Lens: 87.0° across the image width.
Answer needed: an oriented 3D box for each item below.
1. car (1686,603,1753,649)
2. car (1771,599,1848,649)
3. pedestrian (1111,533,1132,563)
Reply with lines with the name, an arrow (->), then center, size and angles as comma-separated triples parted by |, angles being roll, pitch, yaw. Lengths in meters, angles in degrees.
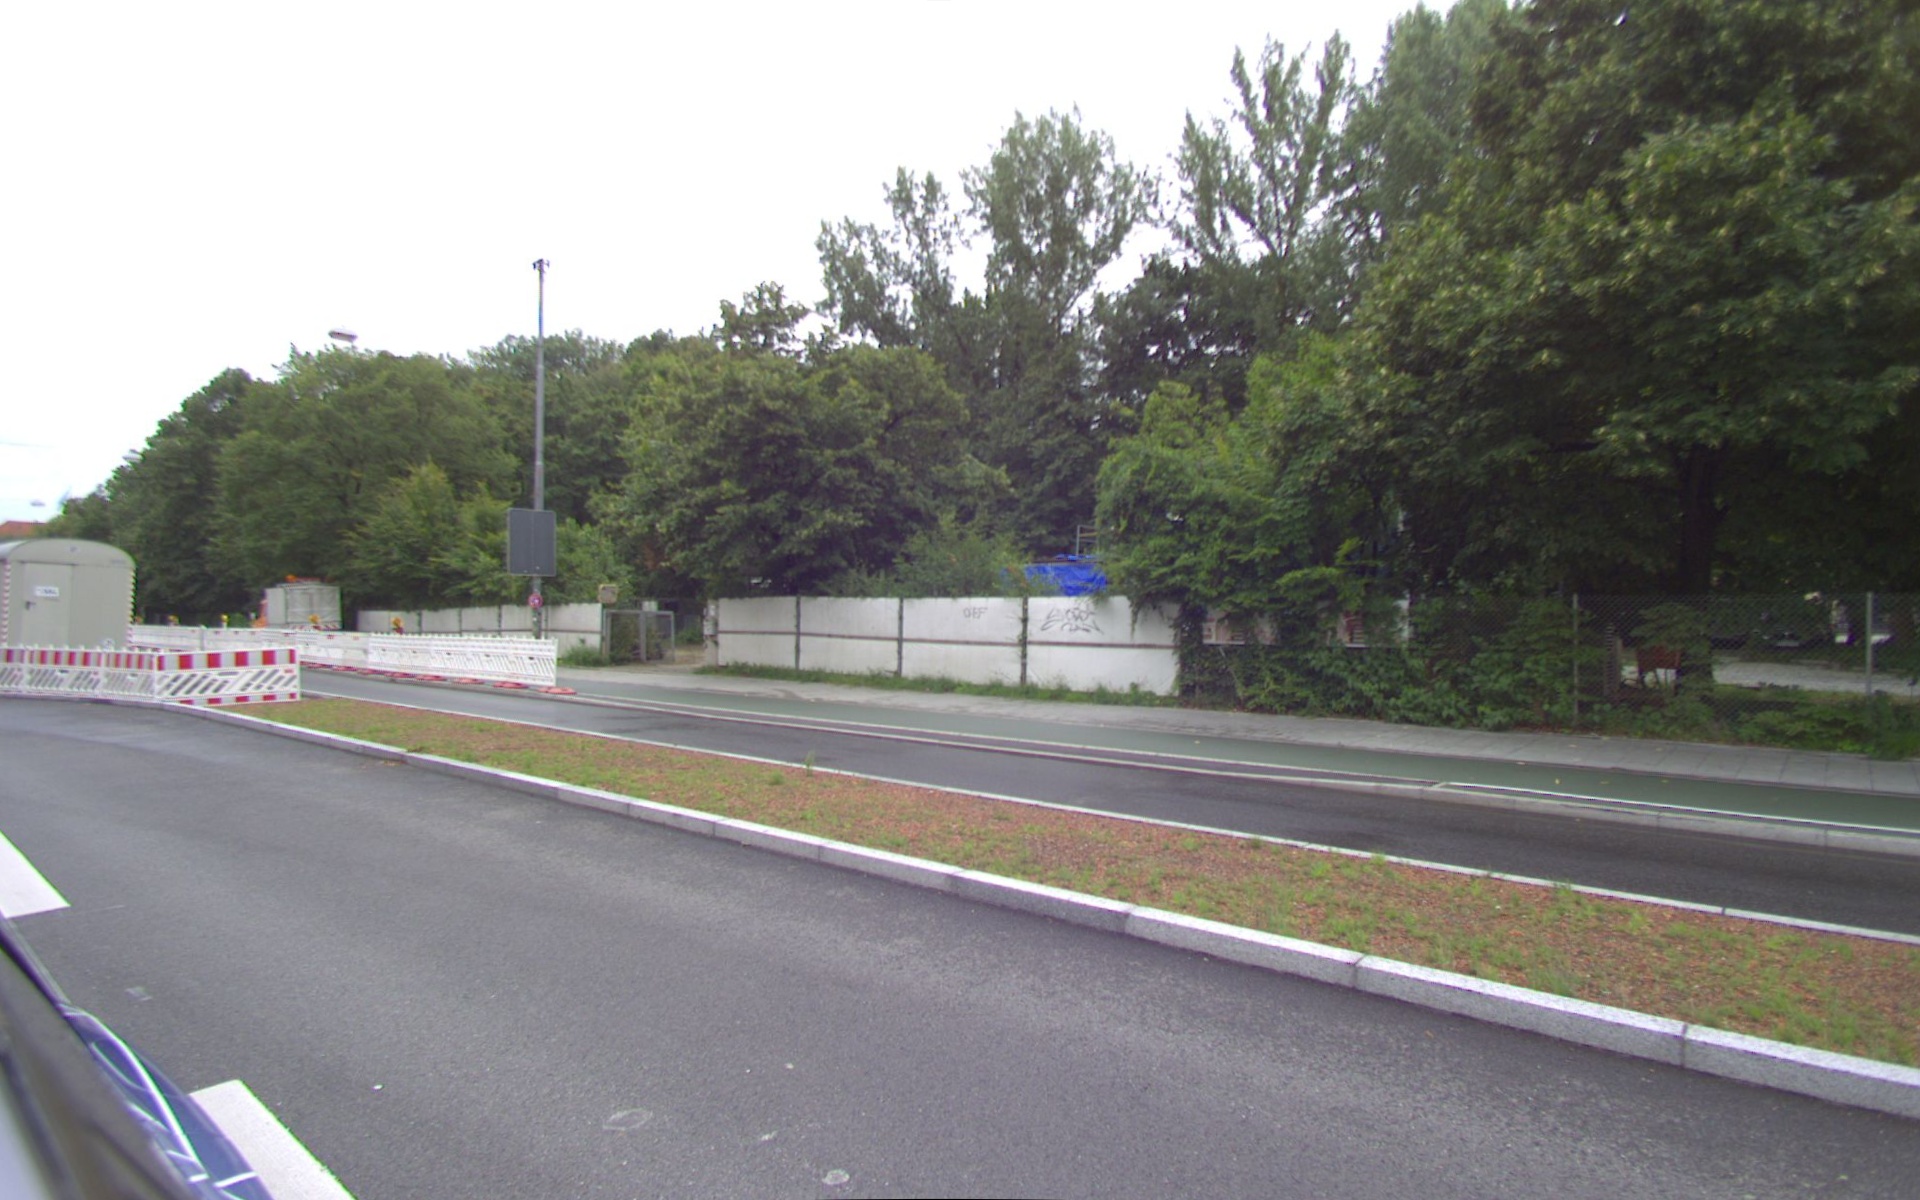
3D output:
car -> 29.901, 1.009, 39.840 | 1.997, 1.732, 3.949 | -1, -2, 38
car -> 31.559, 0.882, 37.703 | 1.997, 1.732, 3.949 | -1, -2, 38
pedestrian -> 6.803, -2.197, 42.703 | 0.789, 1.194, 0.679 | -1, -2, 18
